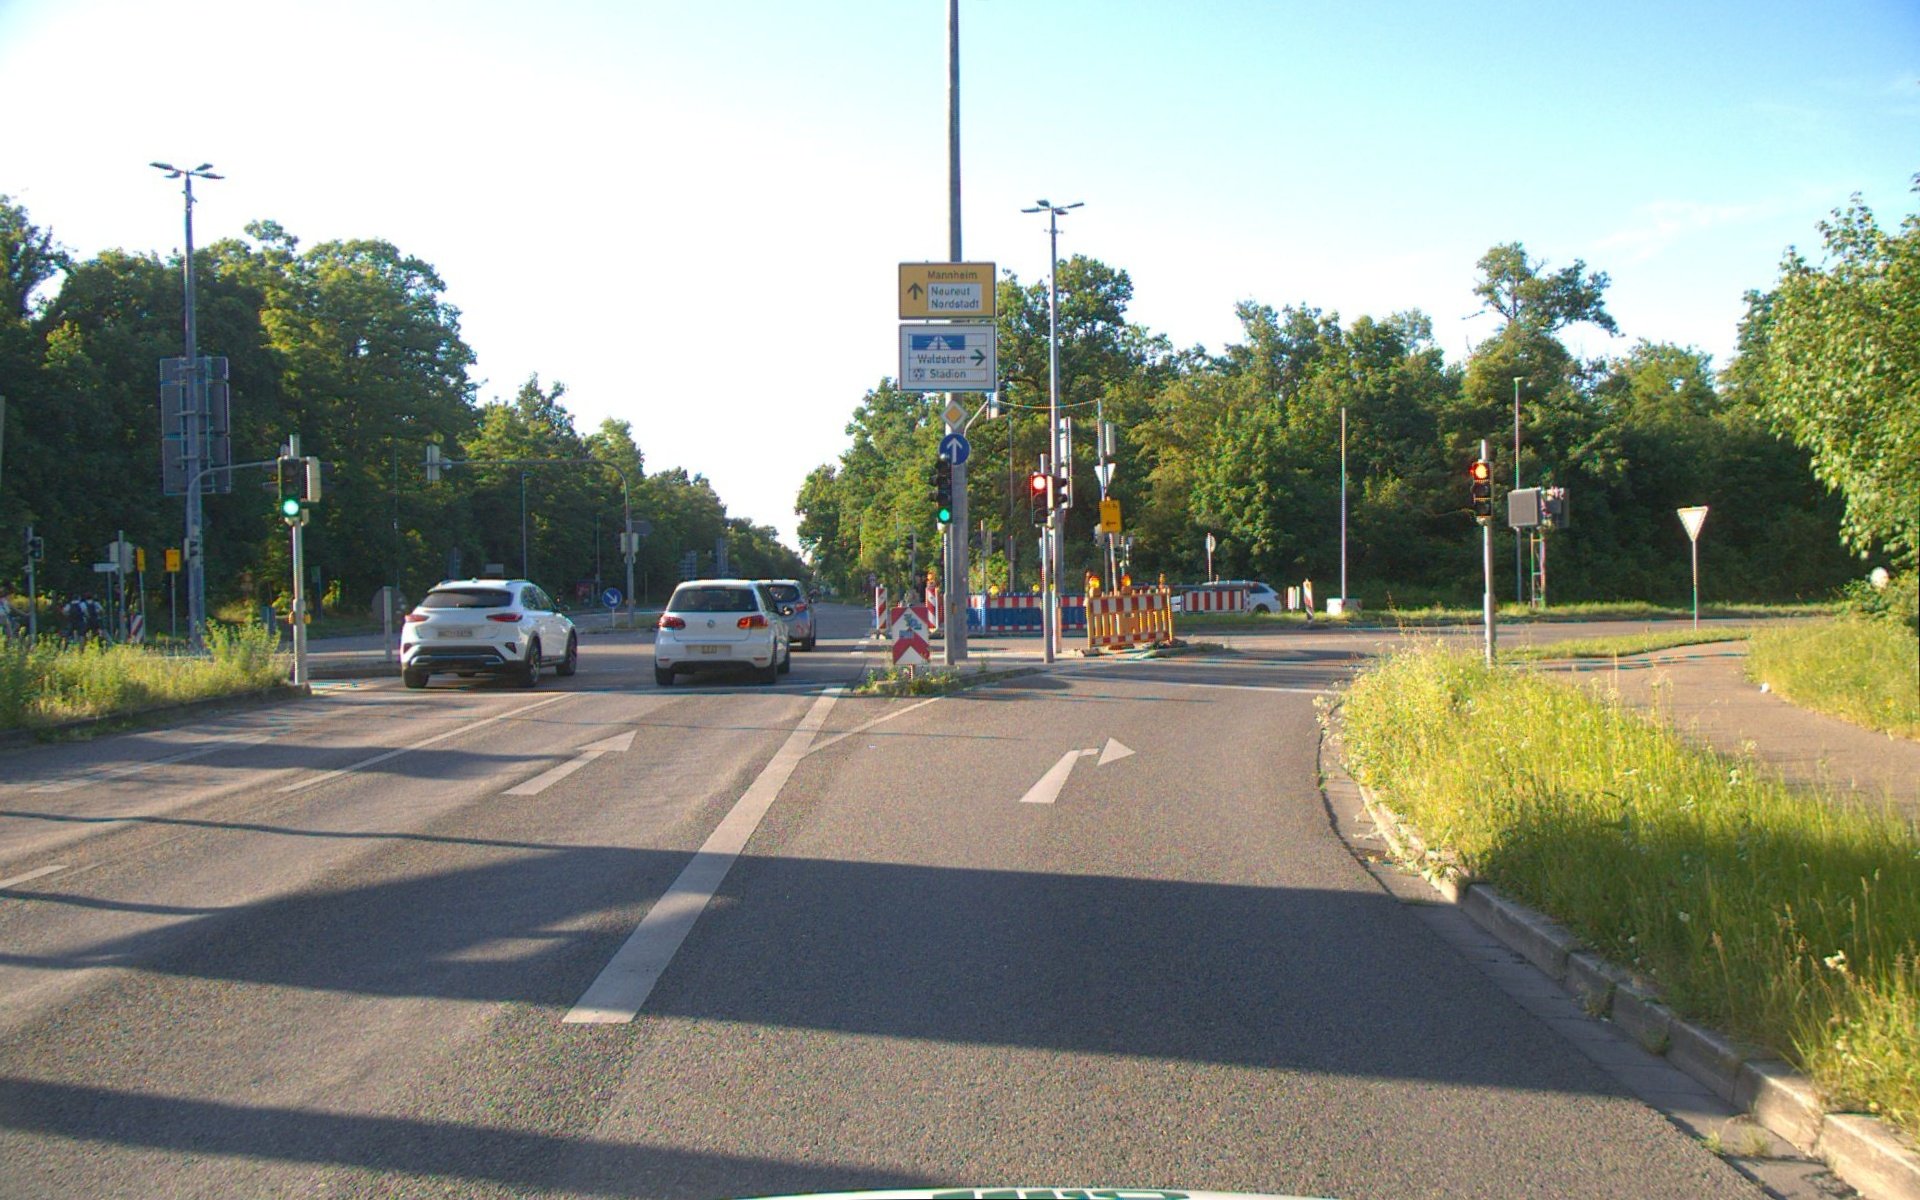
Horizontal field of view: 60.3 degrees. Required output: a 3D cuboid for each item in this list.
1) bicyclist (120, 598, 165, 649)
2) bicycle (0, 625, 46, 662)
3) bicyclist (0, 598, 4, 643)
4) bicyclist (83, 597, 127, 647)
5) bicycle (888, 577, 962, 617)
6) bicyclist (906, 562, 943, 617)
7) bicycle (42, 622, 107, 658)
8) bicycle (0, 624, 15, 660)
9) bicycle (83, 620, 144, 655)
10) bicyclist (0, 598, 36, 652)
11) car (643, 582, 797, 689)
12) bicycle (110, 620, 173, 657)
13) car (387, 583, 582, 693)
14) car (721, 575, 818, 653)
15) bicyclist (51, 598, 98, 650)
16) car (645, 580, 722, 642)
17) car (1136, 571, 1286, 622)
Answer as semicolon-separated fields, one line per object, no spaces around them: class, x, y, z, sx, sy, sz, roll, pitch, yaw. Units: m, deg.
bicyclist;-22.395;0.641;45.344;0.700;1.362;0.990;-1;0;1
bicycle;-25.437;1.156;44.410;0.700;0.930;1.911;-1;1;1
bicyclist;-26.342;0.563;44.451;0.700;1.213;0.990;-1;0;1
bicyclist;-24.250;0.615;46.924;0.700;1.365;0.990;-1;0;1
bicycle;-1.250;-0.111;59.702;2.609;1.407;0.957;0;1;-35
bicyclist;-1.280;-0.399;59.689;1.004;1.963;0.957;0;0;-34
bicycle;-24.235;1.084;45.293;0.700;0.930;1.911;-1;1;1
bicycle;-26.329;1.166;44.453;0.700;0.930;1.911;-1;1;1
bicycle;-24.232;1.059;47.385;0.700;0.930;1.911;-1;1;1
bicyclist;-25.451;0.666;44.373;0.696;1.414;0.990;-1;0;1
car;-3.515;0.473;24.893;1.901;1.439;3.998;-1;0;-3
bicycle;-22.392;1.042;45.287;0.700;0.930;1.911;-1;1;1
car;-6.851;0.496;24.268;1.826;1.469;3.998;0;0;-2
car;-4.140;0.278;36.192;1.955;1.563;3.995;-1;0;-6
bicyclist;-24.242;0.643;45.287;0.700;1.379;0.990;-1;0;1
car;-8.128;0.282;48.868;1.955;1.714;3.995;-1;0;-6
car;8.602;-0.129;56.645;4.754;1.608;1.985;-1;0;-24
